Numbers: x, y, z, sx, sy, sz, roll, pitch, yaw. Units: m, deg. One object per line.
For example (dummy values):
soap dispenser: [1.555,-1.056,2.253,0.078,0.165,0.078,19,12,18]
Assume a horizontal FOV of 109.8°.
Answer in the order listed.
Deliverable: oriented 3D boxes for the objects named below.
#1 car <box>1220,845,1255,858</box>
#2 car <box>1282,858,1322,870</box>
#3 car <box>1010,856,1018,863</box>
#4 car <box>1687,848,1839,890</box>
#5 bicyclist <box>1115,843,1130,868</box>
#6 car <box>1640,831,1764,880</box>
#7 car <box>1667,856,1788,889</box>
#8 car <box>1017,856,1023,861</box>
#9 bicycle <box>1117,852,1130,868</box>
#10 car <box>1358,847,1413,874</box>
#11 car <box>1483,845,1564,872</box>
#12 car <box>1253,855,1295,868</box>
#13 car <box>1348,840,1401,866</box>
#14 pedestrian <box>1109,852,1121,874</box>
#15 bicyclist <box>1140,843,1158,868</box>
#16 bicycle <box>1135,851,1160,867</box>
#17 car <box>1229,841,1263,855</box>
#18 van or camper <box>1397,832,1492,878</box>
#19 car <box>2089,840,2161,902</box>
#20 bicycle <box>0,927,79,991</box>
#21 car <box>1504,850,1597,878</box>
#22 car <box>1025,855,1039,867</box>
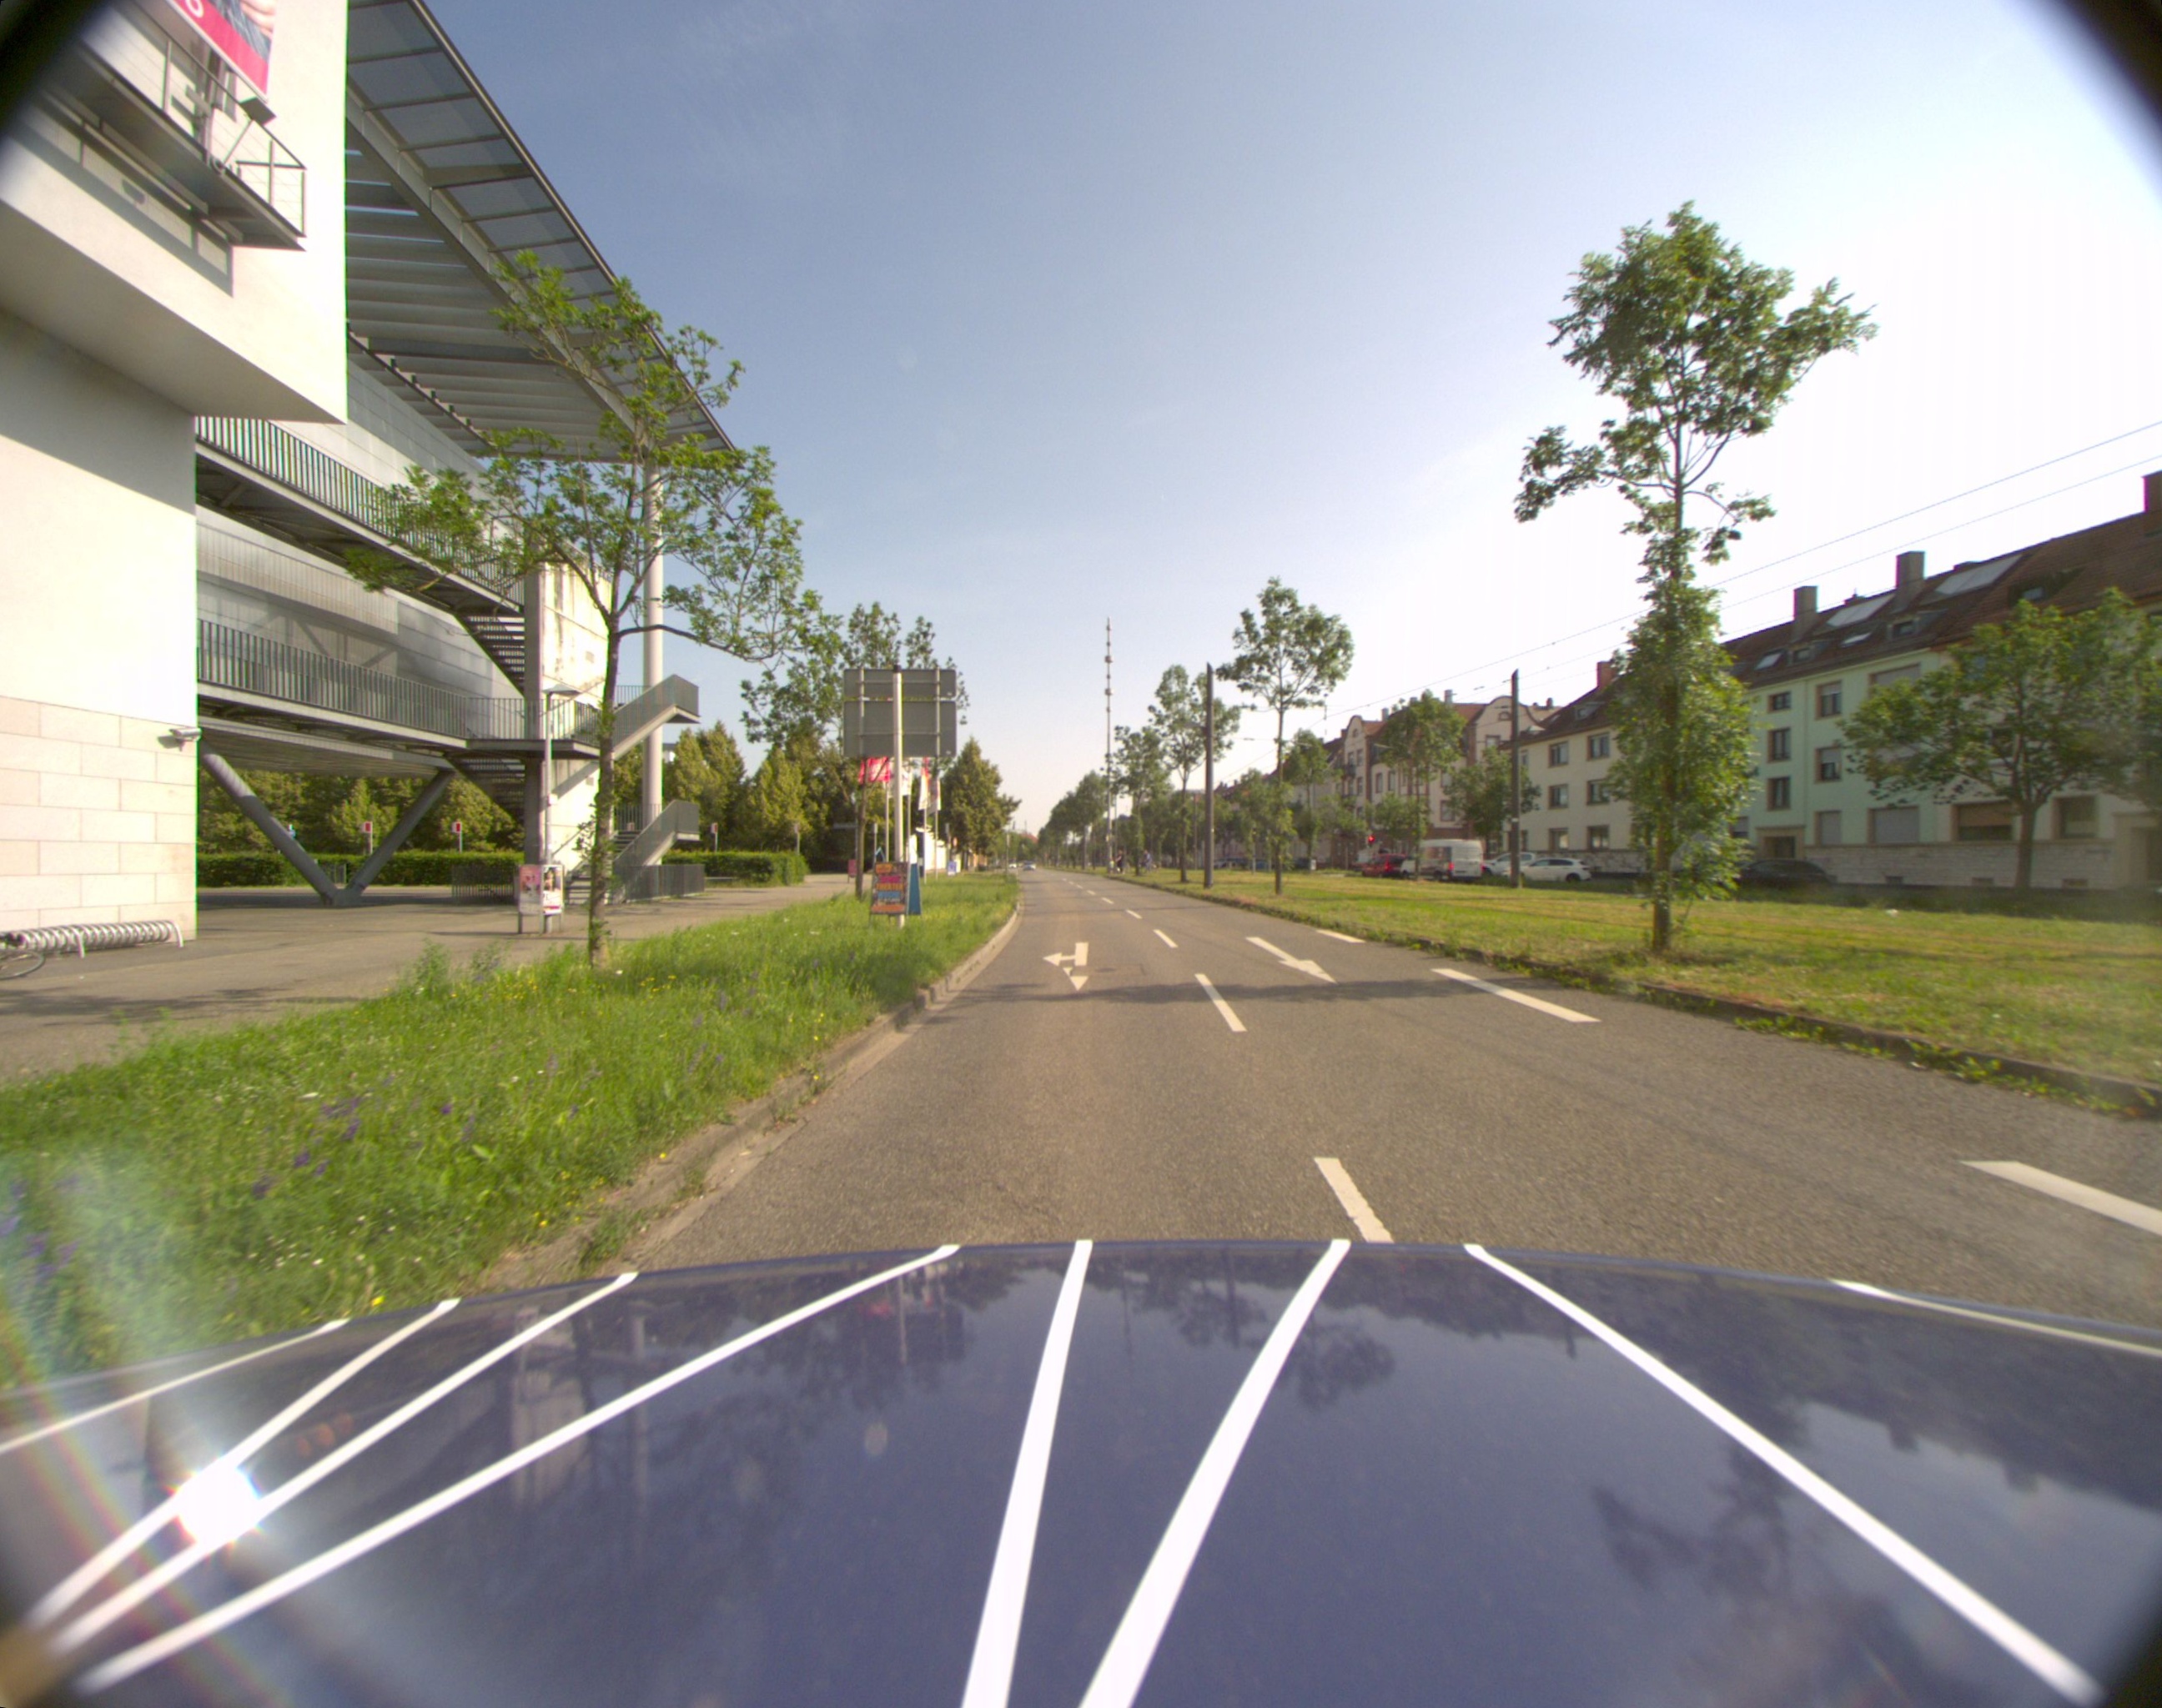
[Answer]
car: [22.048,-0.352,107.327,4.491,1.596,2.003,-2,1,24]
car: [23.777,1.040,81.662,3.840,1.121,1.772,-2,1,27]
car: [-16.917,1.355,191.882,1.999,1.652,3.998,0,0,-5]
car: [27.180,0.601,30.507,4.338,1.521,2.004,-1,1,35]
bicyclist: [3.027,0.113,55.132,0.906,1.812,0.872,0,1,13]
car: [33.850,0.042,41.663,1.999,2.449,5.575,-2,1,-3]
car: [27.861,0.796,32.916,3.767,1.335,1.776,-1,1,33]
car: [-20.186,1.617,250.484,1.999,1.652,3.998,0,0,-5]
bicycle: [3.084,0.428,55.241,0.575,1.139,1.754,0,1,14]
car: [20.456,0.399,51.218,1.821,1.728,4.159,1,0,-3]
car: [26.579,0.282,45.682,4.088,1.520,1.816,-1,1,33]
car: [23.217,0.940,91.314,4.504,1.432,2.003,-2,1,27]
car: [30.553,-0.127,79.451,2.355,2.549,6.503,-2,1,-7]
pedestrian: [2.532,0.665,56.556,0.610,1.594,0.737,0,0,30]
bicyclist: [5.225,0.083,58.042,1.186,1.840,0.911,-2,1,13]
bicycle: [5.083,0.375,58.028,1.790,1.139,0.577,-2,1,13]
car: [22.110,-0.813,101.813,3.990,1.696,1.877,-2,1,24]
van or camper: [20.960,0.044,44.239,2.148,2.459,6.055,1,0,-5]
car: [29.509,0.407,19.394,4.142,1.501,1.871,-1,3,34]
bicycle: [-12.557,1.181,8.572,1.662,0.641,0.538,0,1,-4]
car: [26.551,0.553,43.034,4.355,1.466,1.861,-1,1,33]
car: [-7.431,1.060,114.750,1.999,1.652,3.998,0,0,-5]
